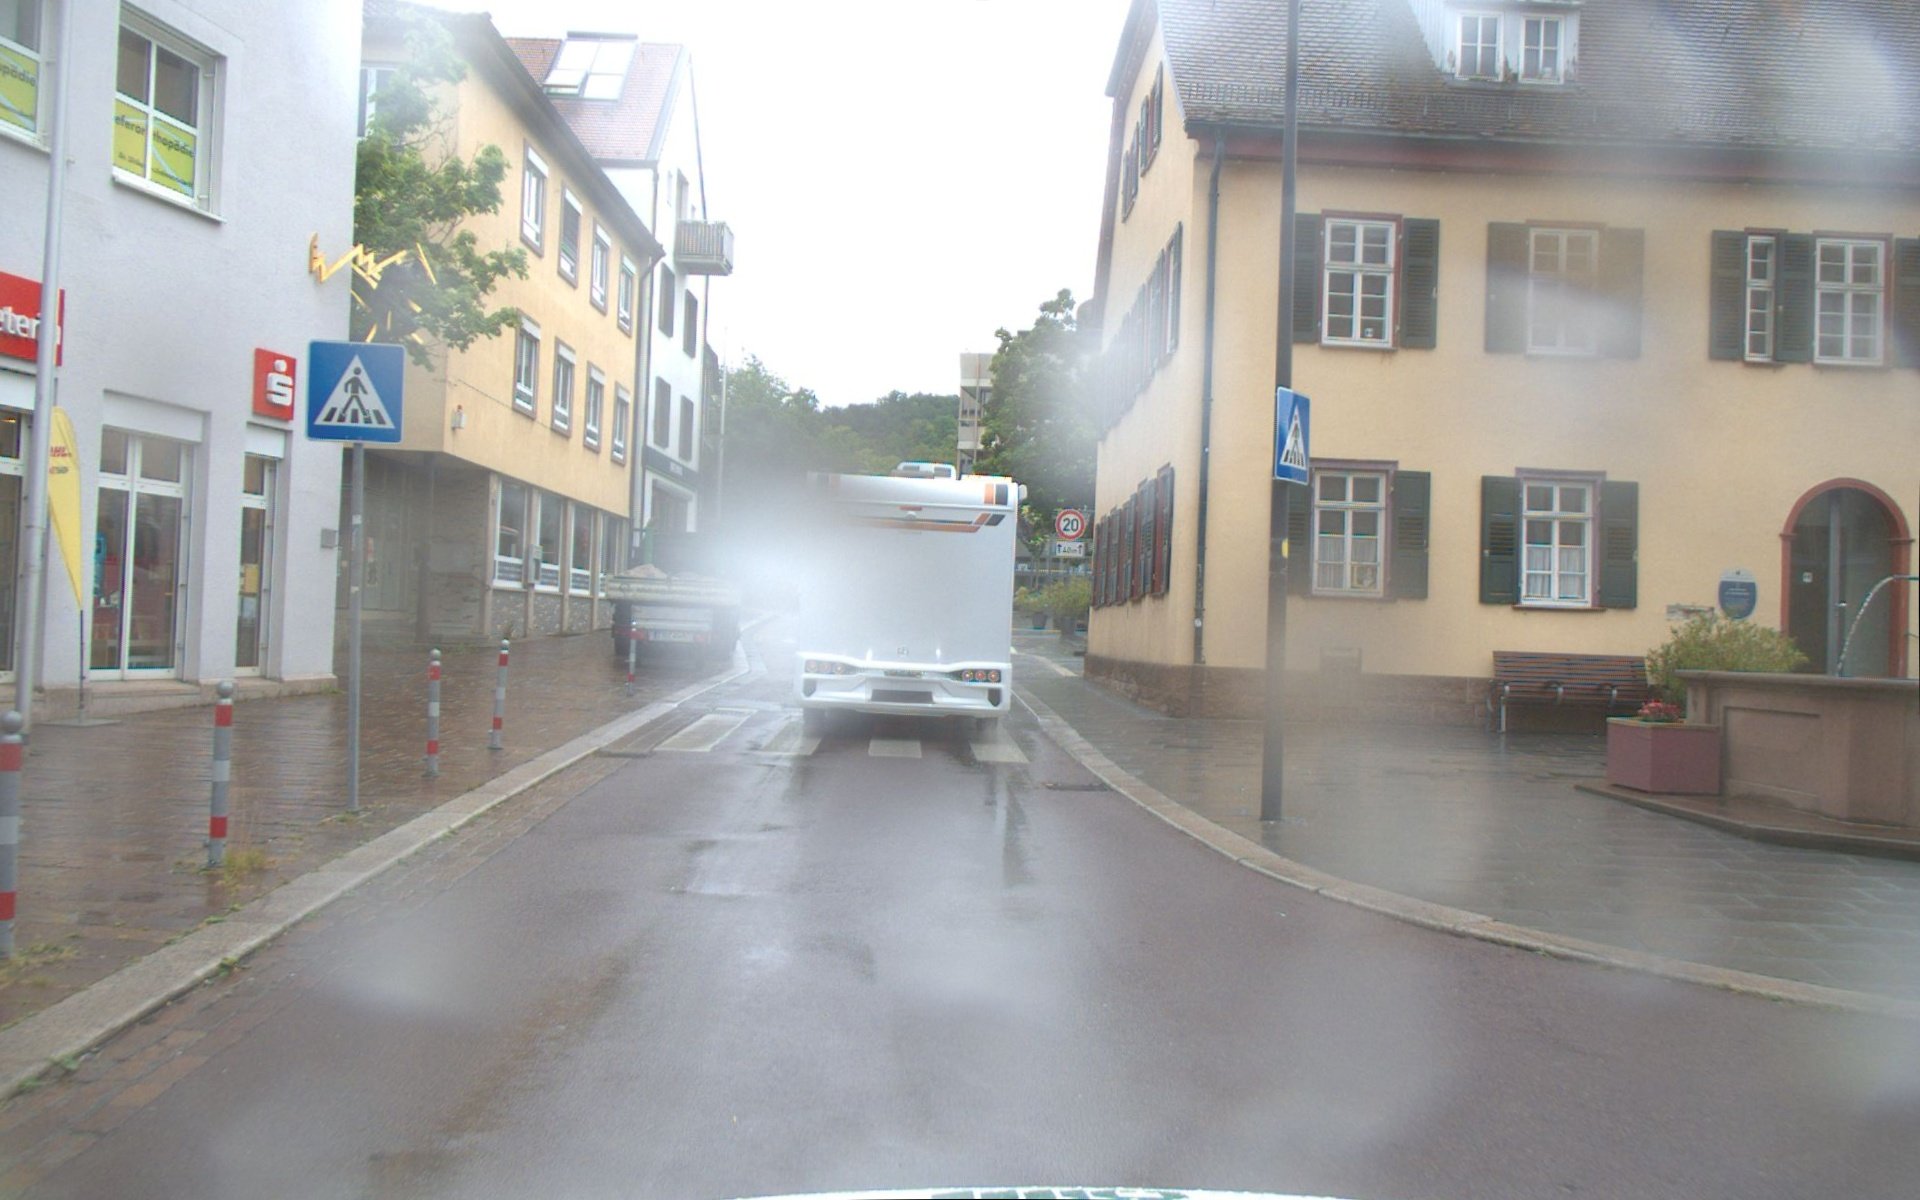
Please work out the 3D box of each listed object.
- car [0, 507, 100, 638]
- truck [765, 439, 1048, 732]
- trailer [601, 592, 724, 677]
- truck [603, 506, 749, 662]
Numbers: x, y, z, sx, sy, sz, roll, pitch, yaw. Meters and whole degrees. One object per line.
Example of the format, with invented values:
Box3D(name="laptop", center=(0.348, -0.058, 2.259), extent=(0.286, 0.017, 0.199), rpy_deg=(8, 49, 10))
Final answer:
Box3D(name="car", center=(-13.868, -0.371, 21.995), extent=(4.020, 1.646, 1.858), rpy_deg=(1, 0, 12))
Box3D(name="truck", center=(-0.677, -0.129, 19.405), extent=(2.750, 2.846, 6.103), rpy_deg=(1, 0, -3))
Box3D(name="trailer", center=(-4.897, 0.538, 27.531), extent=(1.817, 1.144, 3.015), rpy_deg=(2, 2, -7))
Box3D(name="truck", center=(-5.389, -0.415, 32.214), extent=(2.354, 2.639, 6.475), rpy_deg=(2, 2, -7))
